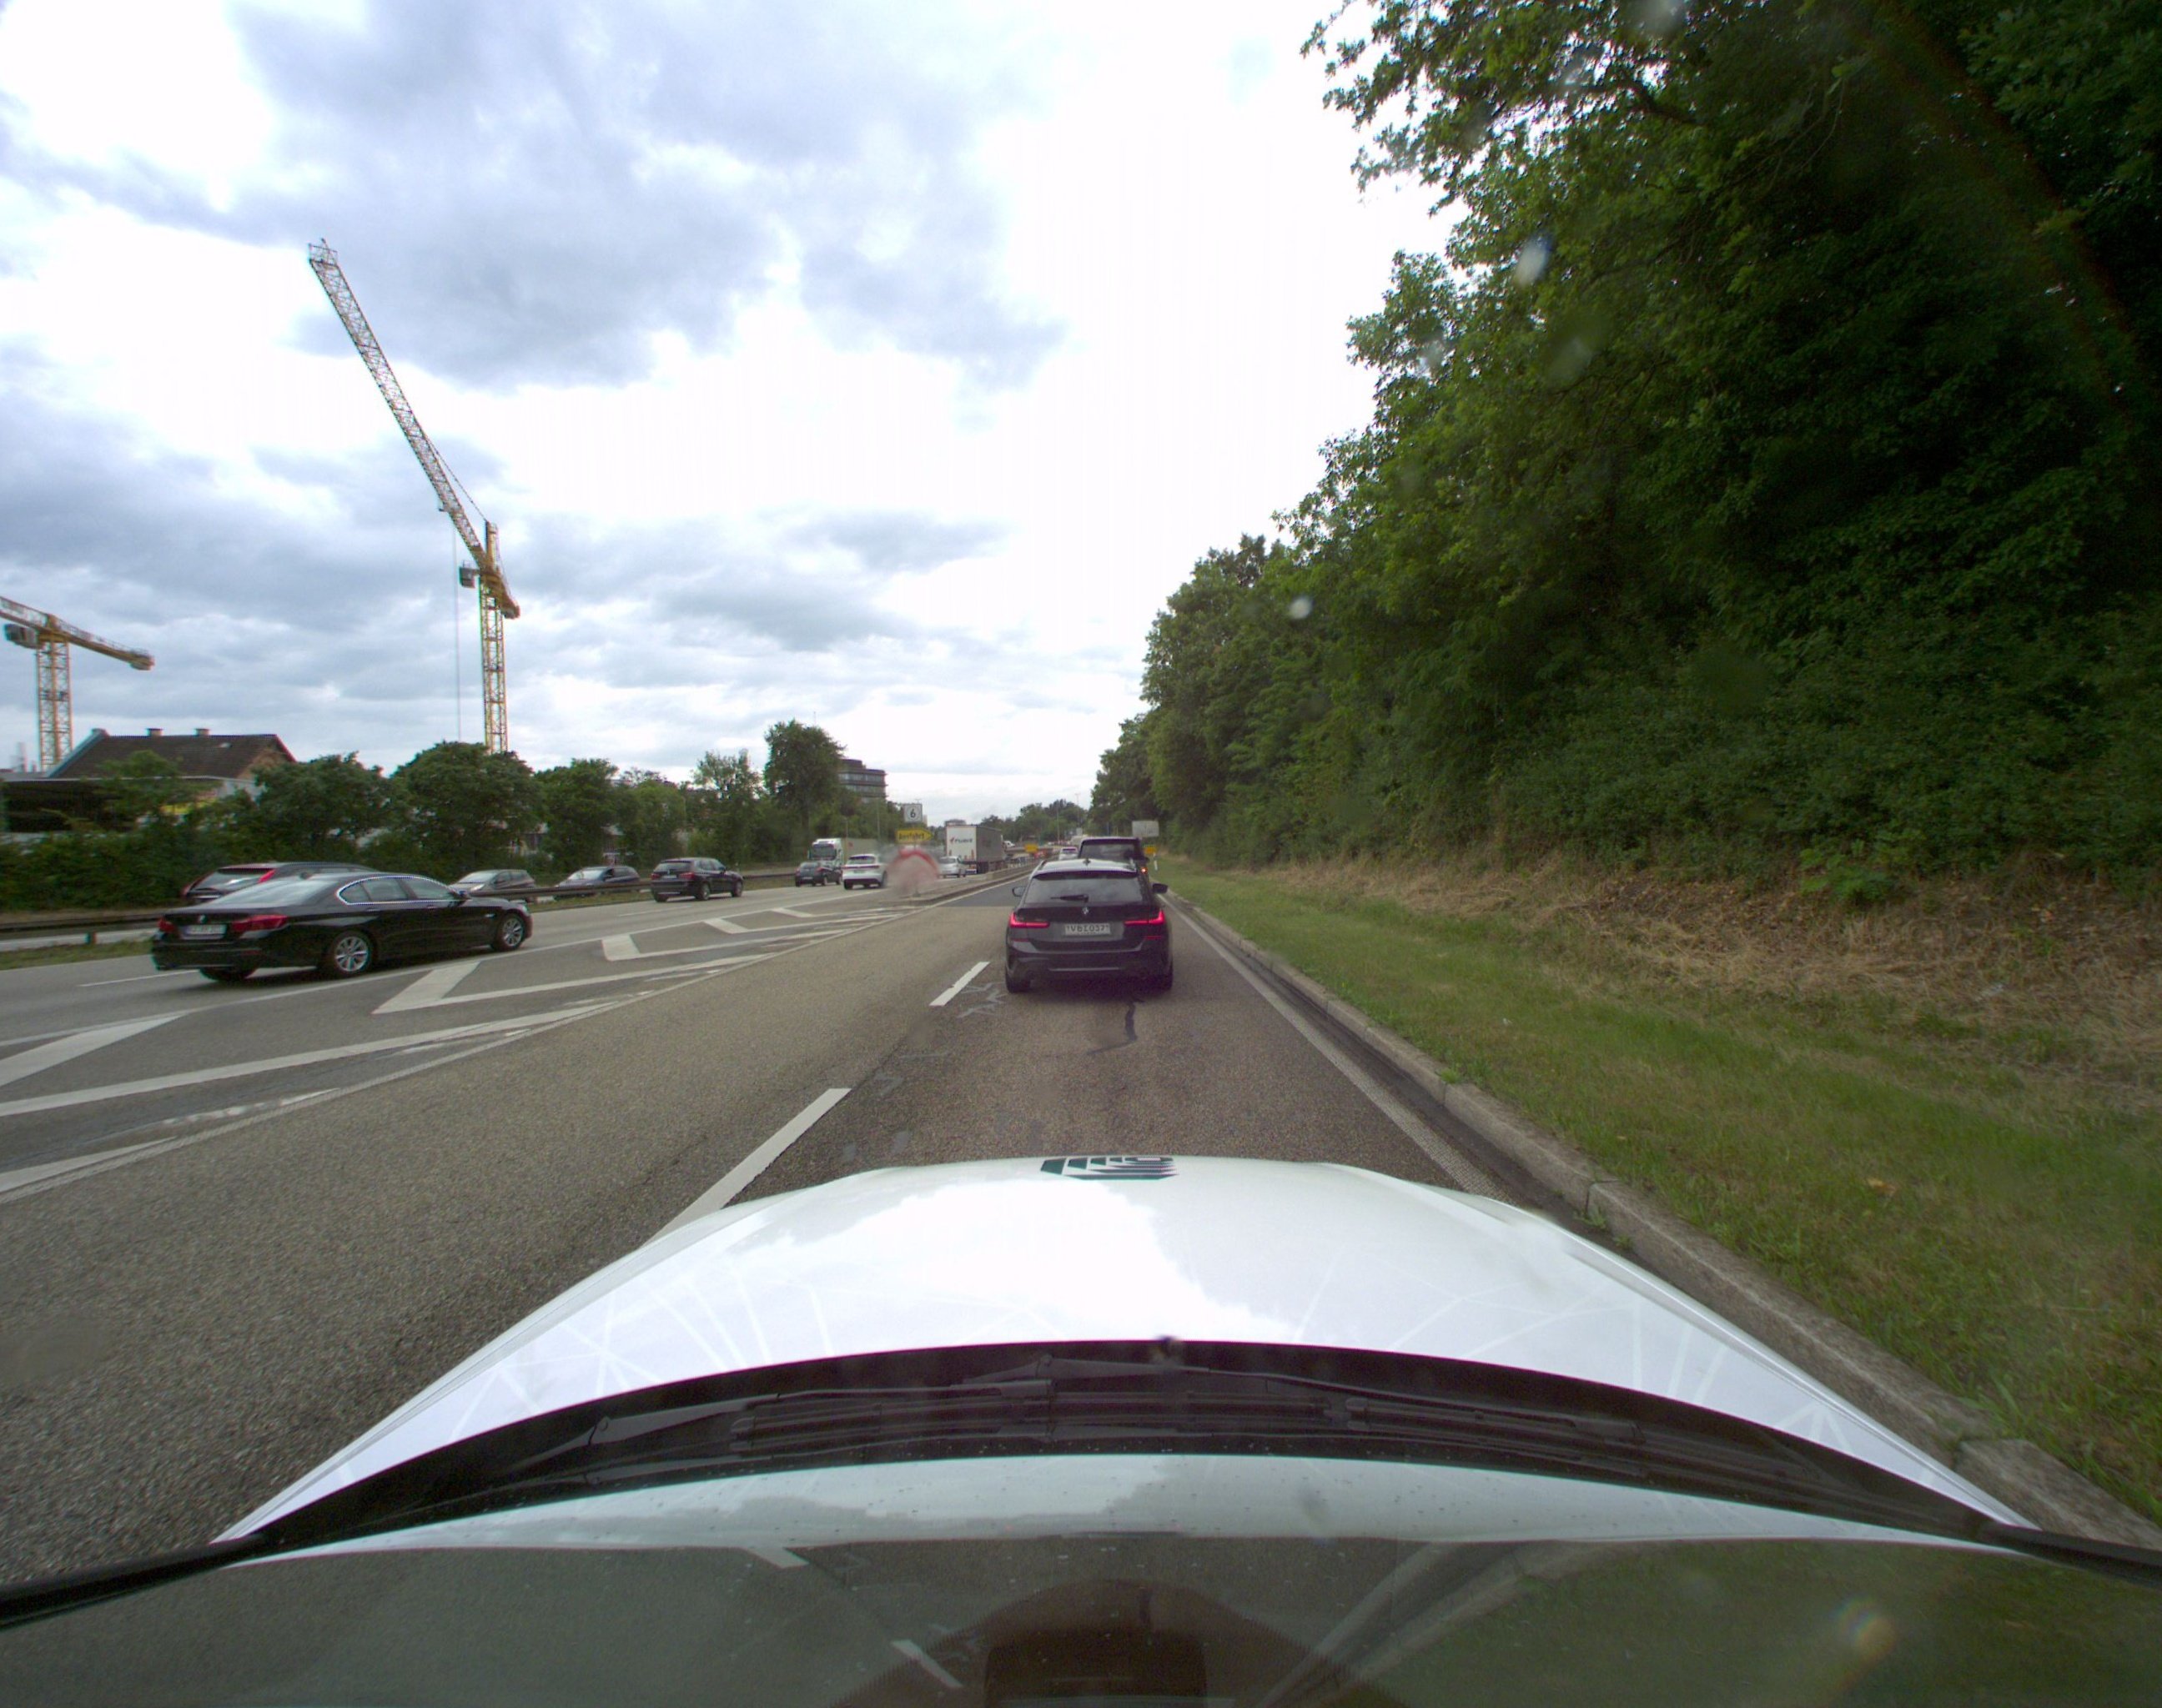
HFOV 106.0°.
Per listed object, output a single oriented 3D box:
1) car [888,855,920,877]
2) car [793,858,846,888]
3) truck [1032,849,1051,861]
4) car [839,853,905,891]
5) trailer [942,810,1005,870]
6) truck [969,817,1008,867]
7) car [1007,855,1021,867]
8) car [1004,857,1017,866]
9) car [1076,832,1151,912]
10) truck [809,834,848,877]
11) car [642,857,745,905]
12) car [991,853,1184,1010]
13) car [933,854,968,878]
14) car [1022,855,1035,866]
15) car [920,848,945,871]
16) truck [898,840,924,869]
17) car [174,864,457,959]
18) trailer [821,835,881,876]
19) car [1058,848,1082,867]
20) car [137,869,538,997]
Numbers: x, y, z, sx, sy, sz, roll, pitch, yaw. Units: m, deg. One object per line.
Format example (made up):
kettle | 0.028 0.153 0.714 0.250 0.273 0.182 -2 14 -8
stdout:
car | -14.313 0.956 65.937 1.682 1.632 3.735 -1 0 1
car | -15.007 1.063 46.889 1.682 1.608 4.008 -1 0 1
truck | -8.469 0.145 175.864 3.262 2.509 7.663 -2 0 2
car | -10.266 0.838 40.425 1.939 1.692 4.509 -2 0 2
trailer | -9.236 -1.122 71.937 3.121 4.725 14.564 -1 0 2
truck | -8.976 -1.128 79.407 3.072 4.697 4.234 -1 0 2
car | -8.867 0.905 107.629 1.372 1.398 3.064 -2 0 3
car | -11.479 1.230 132.166 1.587 1.432 3.064 -2 0 3
car | 0.865 0.429 21.703 1.789 1.872 4.002 -1 0 2
truck | -24.652 0.134 79.616 2.397 4.020 4.001 -2 0 1
car | -15.119 1.008 32.096 1.884 1.681 4.307 -2 0 1
car | 0.080 0.753 9.912 1.840 1.466 4.000 -1 0 0
car | -8.996 0.810 56.332 1.762 1.549 3.493 -2 0 1
car | -7.549 0.988 118.043 1.442 1.490 3.064 -2 0 3
car | -13.875 0.464 76.193 1.437 2.044 3.683 -2 0 3
truck | -23.695 0.059 113.659 2.586 3.990 4.001 -2 0 1
car | -15.646 1.074 17.041 1.745 1.635 4.269 -1 0 2
trailer | -24.479 0.107 87.493 2.389 4.029 13.081 -2 0 1
car | -0.980 0.280 74.921 1.923 1.596 3.880 -2 0 3
car | -10.856 1.032 12.514 1.706 1.456 4.670 -1 0 3
